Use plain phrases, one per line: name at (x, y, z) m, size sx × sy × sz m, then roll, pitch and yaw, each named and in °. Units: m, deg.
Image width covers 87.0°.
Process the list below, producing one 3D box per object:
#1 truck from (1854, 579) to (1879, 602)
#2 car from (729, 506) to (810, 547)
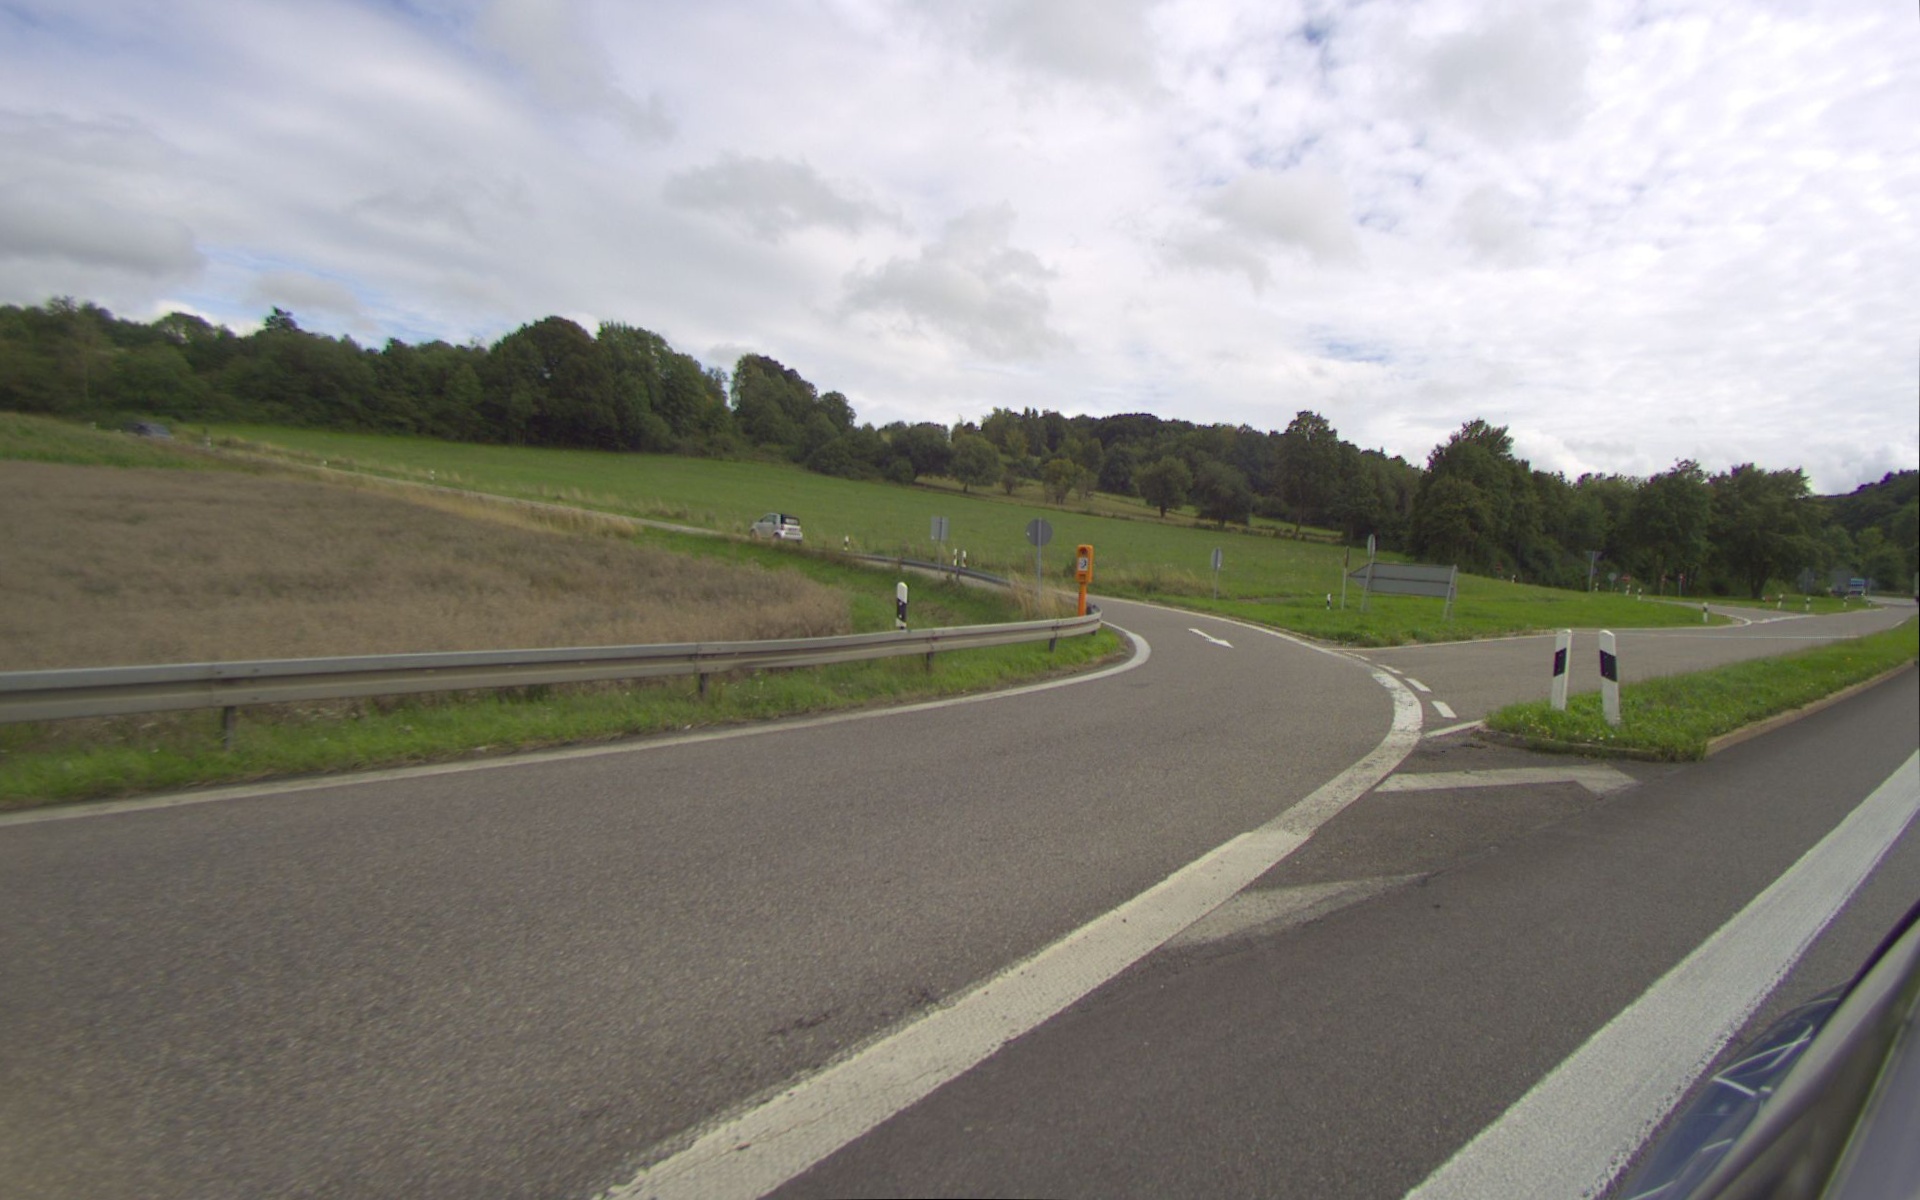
truck at (167.542, -1.794, 187.078) m, size 2.783 × 4.020 × 5.860 m, roll 2°, pitch 3°, yaw 38°
car at (-9.856, -3.801, 52.142) m, size 3.983 × 1.569 × 1.760 m, roll 11°, pitch 5°, yaw 36°
